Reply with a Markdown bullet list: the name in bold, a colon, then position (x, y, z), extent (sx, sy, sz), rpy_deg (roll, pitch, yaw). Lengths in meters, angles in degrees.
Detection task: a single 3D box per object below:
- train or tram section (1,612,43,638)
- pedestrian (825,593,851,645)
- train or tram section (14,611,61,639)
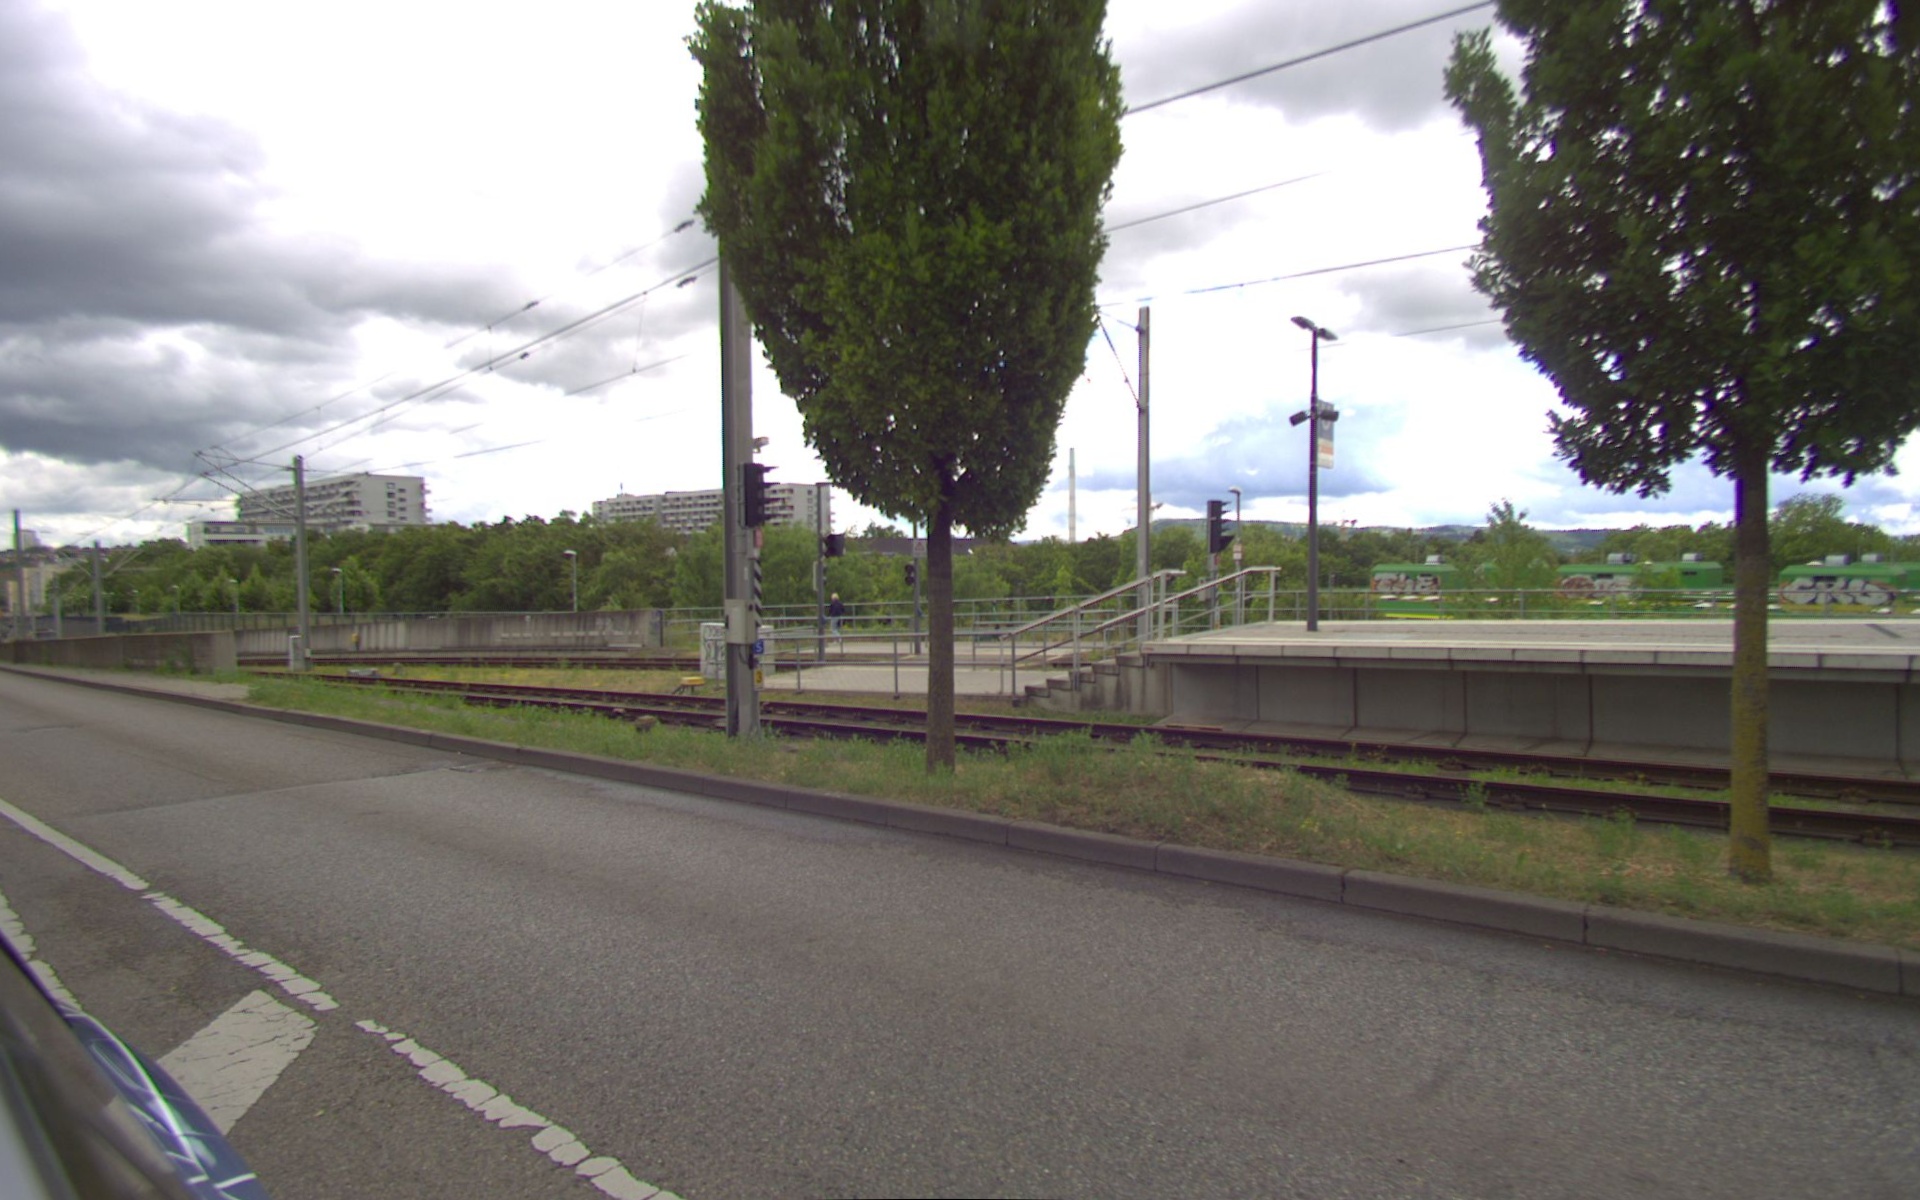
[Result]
- **train or tram section**: position (-126.052, 3.422, 135.879), extent (18.473, 3.217, 2.751), rpy_deg (-2, -1, 43)
- **pedestrian**: position (-3.900, 0.603, 32.448), extent (0.645, 1.637, 0.502), rpy_deg (-2, -1, 42)
- **train or tram section**: position (-112.529, 3.039, 123.288), extent (18.474, 3.217, 2.751), rpy_deg (-2, -1, 43)
